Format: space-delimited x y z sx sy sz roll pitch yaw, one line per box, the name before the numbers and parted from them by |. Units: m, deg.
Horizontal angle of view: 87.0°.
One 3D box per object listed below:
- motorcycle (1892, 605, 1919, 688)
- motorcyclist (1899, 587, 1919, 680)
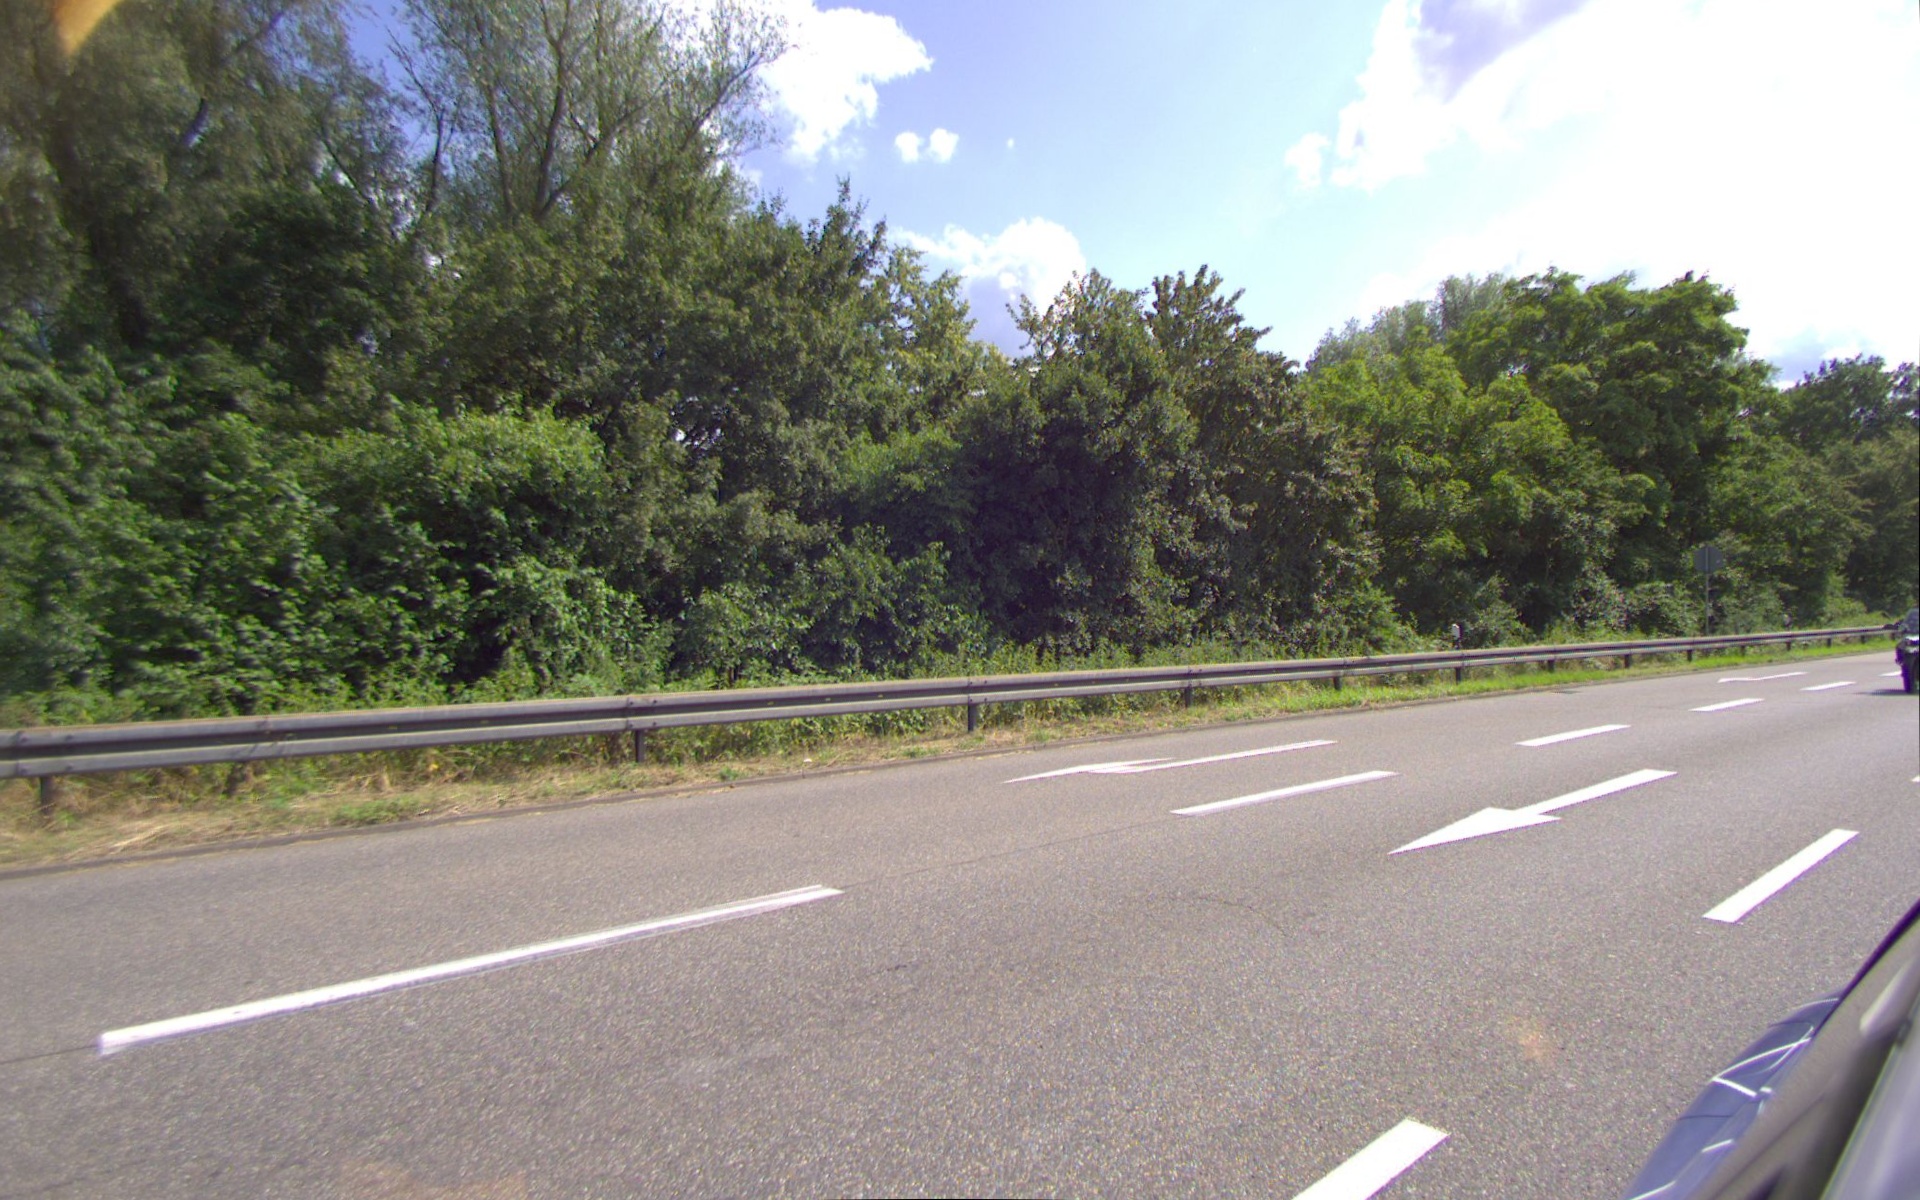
motorcycle | 17.156 0.784 17.652 2.326 1.401 0.939 0 -1 -38
motorcyclist | 17.179 0.584 17.682 1.063 1.611 0.939 0 -1 -38
